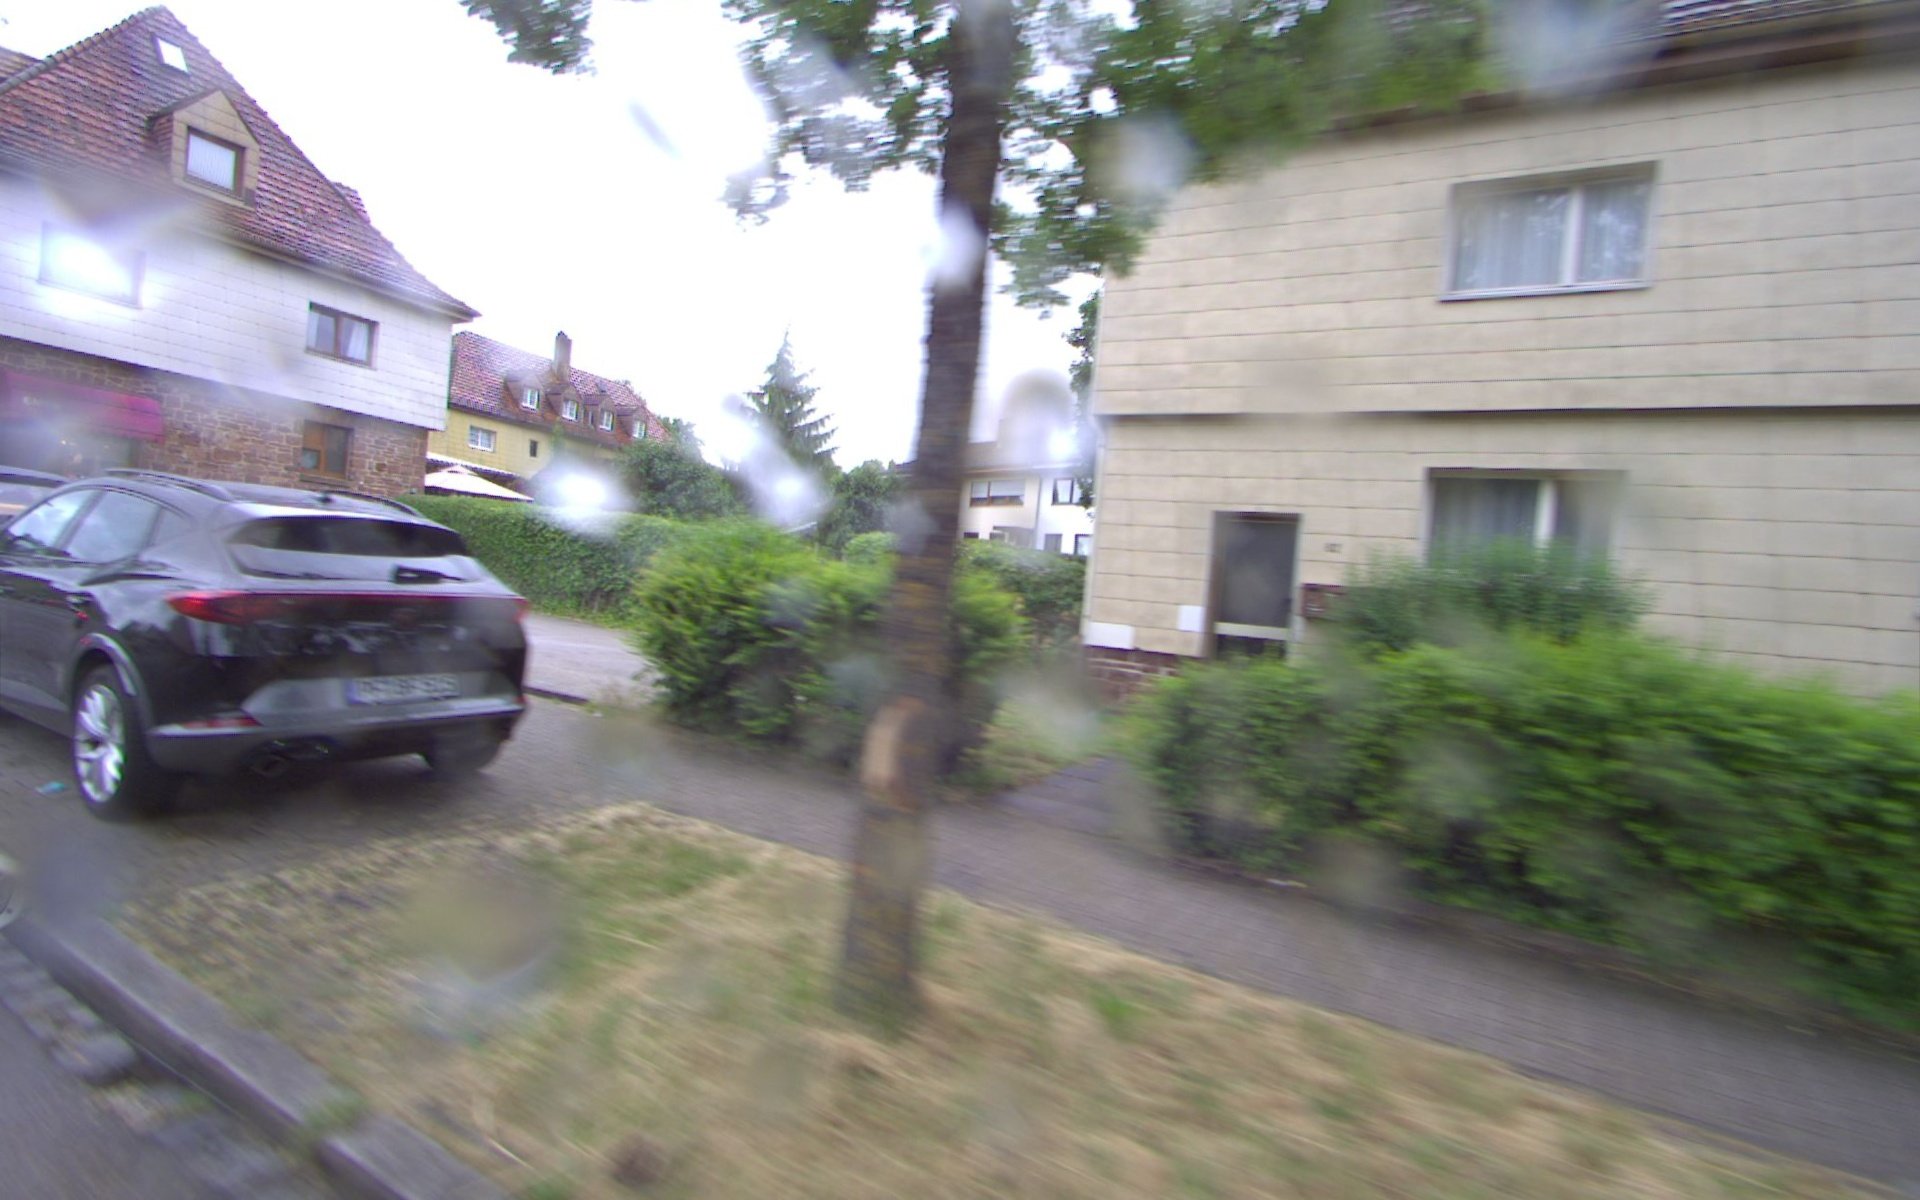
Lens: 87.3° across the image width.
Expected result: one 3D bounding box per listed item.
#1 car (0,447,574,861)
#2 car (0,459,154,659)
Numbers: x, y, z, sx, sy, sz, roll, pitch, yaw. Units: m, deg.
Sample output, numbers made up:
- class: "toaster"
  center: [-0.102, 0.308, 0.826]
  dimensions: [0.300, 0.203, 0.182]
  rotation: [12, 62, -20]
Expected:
- class: "car"
  center: [-4.240, 0.040, 5.601]
  dimensions: [4.114, 1.519, 1.714]
  rotation: [7, 3, 32]
- class: "car"
  center: [-8.680, -0.498, 8.607]
  dimensions: [3.792, 1.492, 1.604]
  rotation: [7, 4, 32]
